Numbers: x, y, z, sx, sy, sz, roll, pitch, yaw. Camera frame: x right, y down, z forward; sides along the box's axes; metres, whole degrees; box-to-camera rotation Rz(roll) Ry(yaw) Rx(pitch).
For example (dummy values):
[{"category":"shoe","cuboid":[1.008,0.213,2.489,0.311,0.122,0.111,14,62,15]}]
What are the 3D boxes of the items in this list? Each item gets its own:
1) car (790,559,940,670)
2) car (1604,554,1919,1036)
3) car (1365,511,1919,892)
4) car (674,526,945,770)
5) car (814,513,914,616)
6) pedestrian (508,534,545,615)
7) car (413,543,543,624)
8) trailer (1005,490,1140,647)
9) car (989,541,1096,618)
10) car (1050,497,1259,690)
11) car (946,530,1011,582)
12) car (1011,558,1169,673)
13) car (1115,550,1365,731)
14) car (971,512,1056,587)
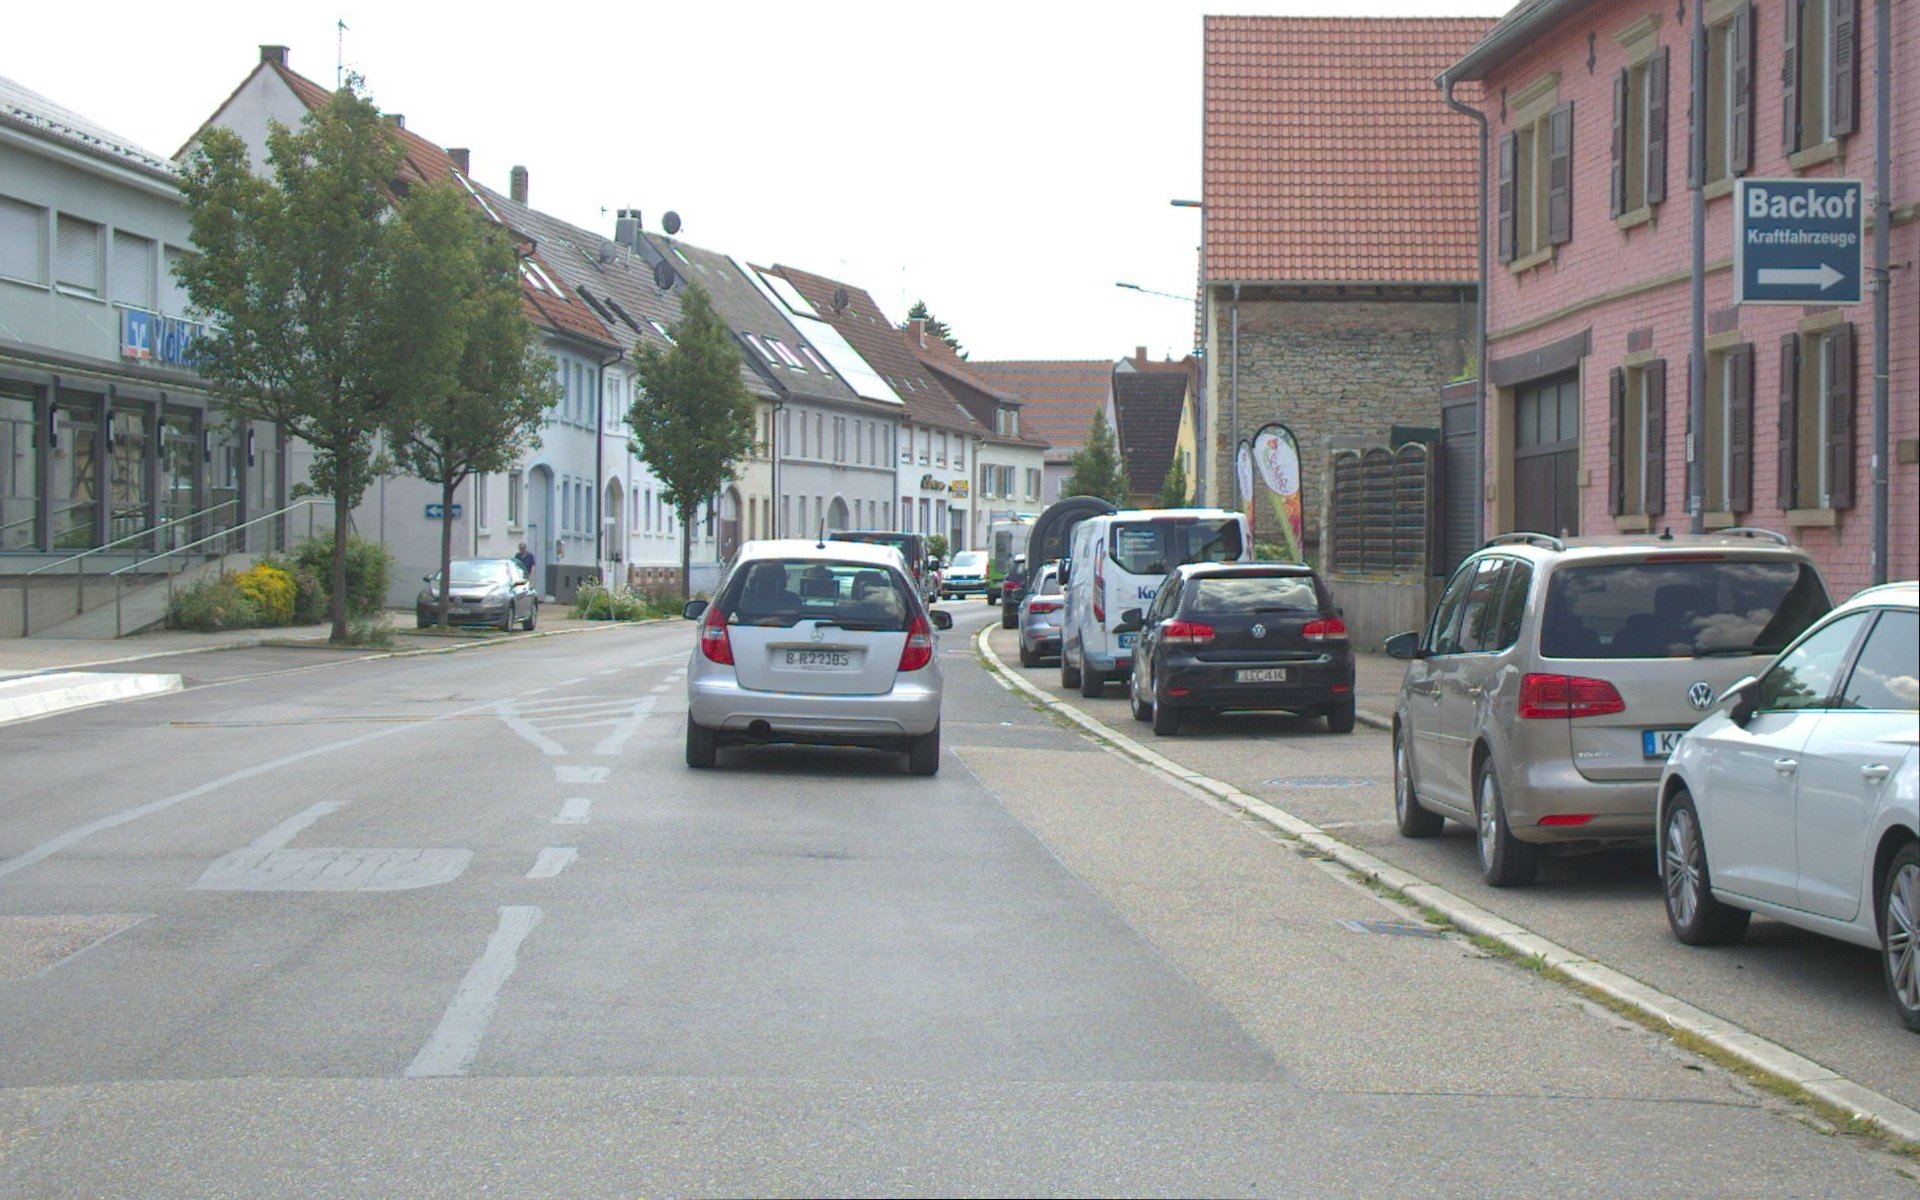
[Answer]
[{"category":"car","cuboid":[-1.333,0.168,47.469,1.945,1.402,4.000,2,1,-2]},{"category":"car","cuboid":[3.883,0.605,12.163,1.993,1.512,4.372,0,1,-6]},{"category":"car","cuboid":[3.364,0.428,17.397,1.993,1.675,4.323,1,1,-2]},{"category":"car","cuboid":[-1.109,0.311,25.013,1.768,1.589,4.000,1,0,-3]},{"category":"car","cuboid":[-1.879,-0.694,68.438,1.769,1.881,4.447,3,0,0]},{"category":"pedestrian","cuboid":[-9.660,-0.568,76.615,0.739,1.795,0.642,0,0,0]},{"category":"car","cuboid":[-9.193,-0.337,65.815,1.804,1.455,4.158,2,1,1]},{"category":"trailer","cuboid":[1.713,-0.496,53.393,1.845,2.346,3.590,0,1,-2]},{"category":"car","cuboid":[1.700,-0.450,72.468,1.993,1.554,4.000,-1,1,-2]},{"category":"car","cuboid":[2.111,-0.096,38.582,1.892,1.975,4.931,-1,1,-2]},{"category":"car","cuboid":[0.663,-1.492,118.397,1.994,1.744,3.999,0,0,4]},{"category":"car","cuboid":[1.759,0.181,48.040,1.875,1.476,4.675,2,1,-1]},{"category":"car","cuboid":[2.425,0.313,30.720,1.774,1.490,4.162,1,1,-2]},{"category":"car","cuboid":[1.665,-1.519,105.017,2.236,2.215,3.999,0,0,6]}]
